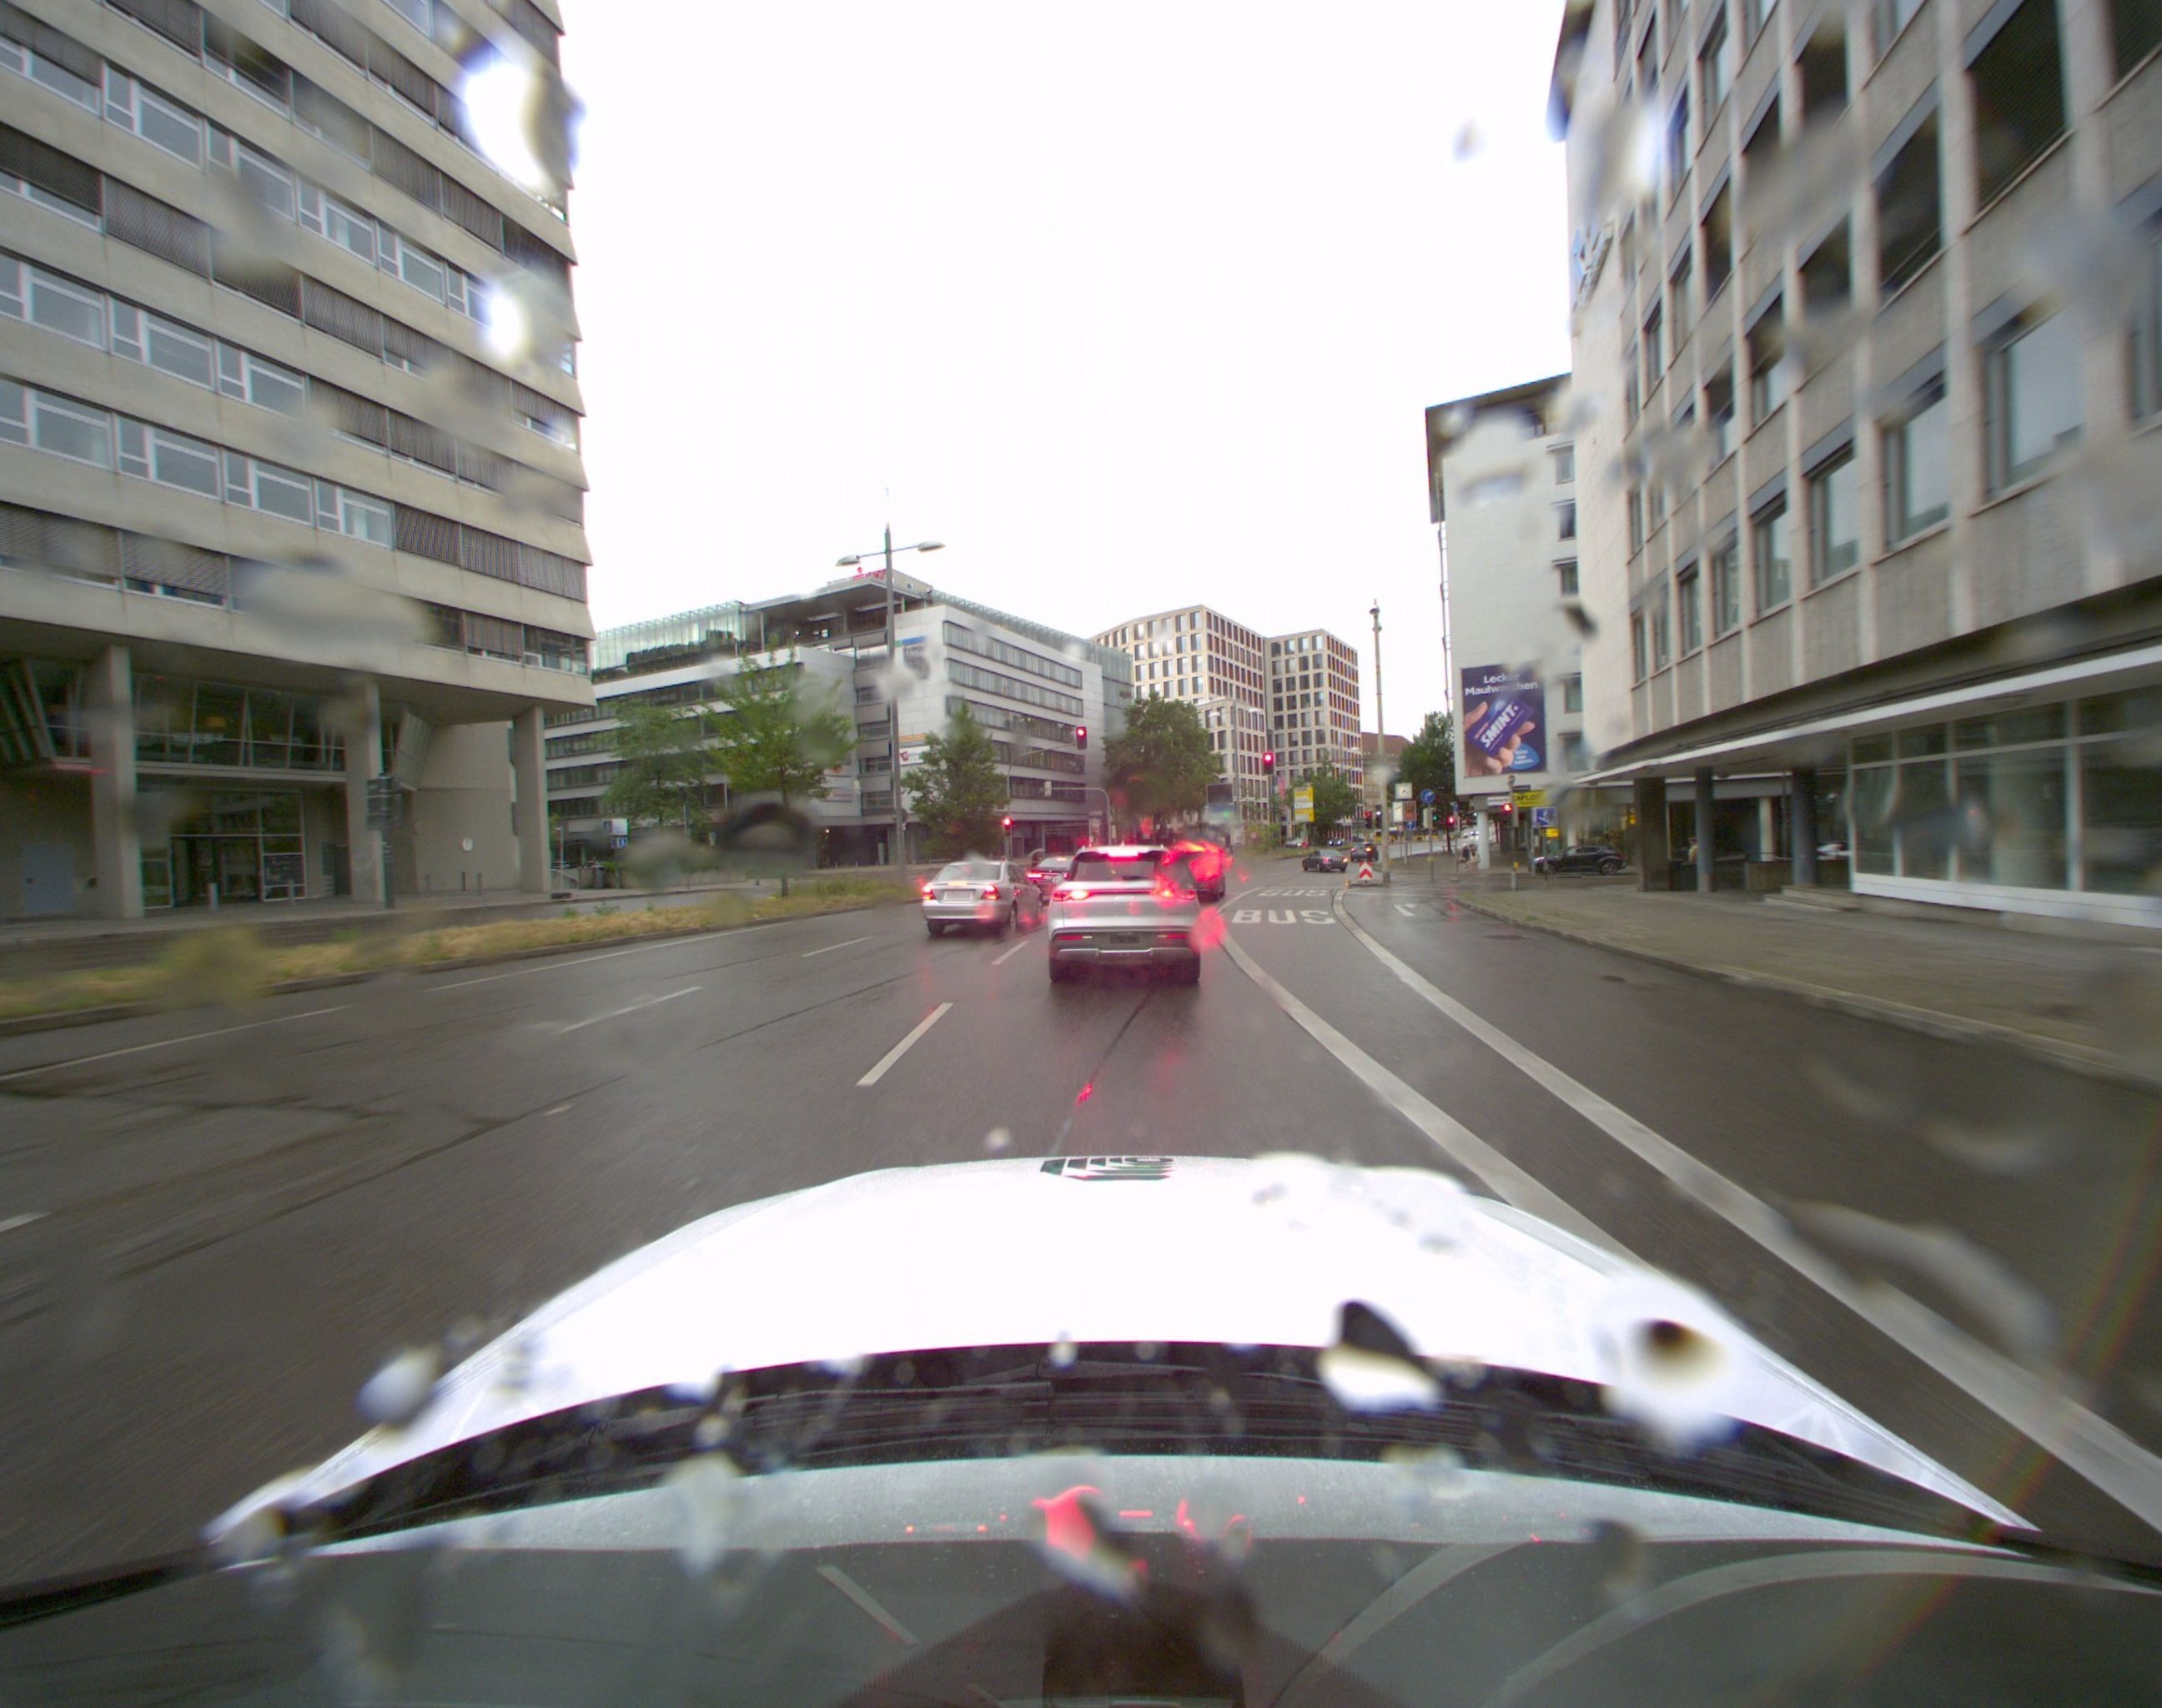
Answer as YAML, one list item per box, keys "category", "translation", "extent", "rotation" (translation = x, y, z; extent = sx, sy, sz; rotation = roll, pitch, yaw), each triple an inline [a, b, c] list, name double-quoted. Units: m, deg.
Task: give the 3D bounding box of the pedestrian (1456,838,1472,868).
- category: "pedestrian"
  translation: [22.060, -0.047, 46.896]
  extent: [0.721, 1.668, 0.694]
  rotation: [-2, -1, 21]

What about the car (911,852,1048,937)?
- category: "car"
  translation: [-1.954, 0.749, 17.001]
  extent: [1.672, 1.486, 4.207]
  rotation: [-2, 0, 9]

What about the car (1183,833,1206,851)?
- category: "car"
  translation: [14.115, -1.436, 100.900]
  extent: [1.722, 2.161, 4.519]
  rotation: [0, 0, 23]

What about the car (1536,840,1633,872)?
- category: "car"
  translation: [25.359, 0.069, 41.197]
  extent: [3.951, 1.552, 2.011]
  rotation: [0, 1, 24]

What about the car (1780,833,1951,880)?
- category: "car"
  translation: [31.147, 0.111, 32.496]
  extent: [4.480, 1.750, 2.010]
  rotation: [-1, 0, 18]

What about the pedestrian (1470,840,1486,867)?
- category: "pedestrian"
  translation: [22.684, -0.026, 46.574]
  extent: [0.721, 1.524, 0.764]
  rotation: [-2, -1, 21]

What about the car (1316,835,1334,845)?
- category: "car"
  translation: [43.832, -2.546, 146.487]
  extent: [1.974, 1.705, 4.337]
  rotation: [-1, 2, 32]

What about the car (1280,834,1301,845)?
- category: "car"
  translation: [33.064, -2.302, 128.541]
  extent: [1.974, 1.705, 4.337]
  rotation: [-1, 2, 32]

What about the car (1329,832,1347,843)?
- category: "car"
  translation: [44.399, -2.882, 140.506]
  extent: [1.974, 1.705, 4.026]
  rotation: [-1, 2, 33]

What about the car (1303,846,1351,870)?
- category: "car"
  translation: [16.067, 0.242, 53.390]
  extent: [1.903, 1.510, 4.358]
  rotation: [0, 1, 1]

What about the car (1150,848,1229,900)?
- category: "car"
  translation: [3.667, 0.610, 26.844]
  extent: [1.940, 1.530, 4.018]
  rotation: [-1, 0, 16]

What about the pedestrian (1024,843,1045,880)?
- category: "pedestrian"
  translation: [-2.240, 0.351, 39.192]
  extent: [0.919, 1.738, 0.729]
  rotation: [-2, 0, 0]

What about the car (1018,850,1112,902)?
- category: "car"
  translation: [-0.424, 0.669, 26.693]
  extent: [1.940, 1.530, 4.018]
  rotation: [-1, 0, 16]

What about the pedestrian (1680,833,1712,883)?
- category: "pedestrian"
  translation: [22.595, 0.140, 29.927]
  extent: [0.721, 1.798, 0.743]
  rotation: [-2, 0, 21]

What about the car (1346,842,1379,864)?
- category: "car"
  translation: [23.619, -0.125, 68.185]
  extent: [2.028, 1.765, 4.383]
  rotation: [0, 1, 27]

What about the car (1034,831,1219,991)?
- category: "car"
  translation: [0.582, 0.613, 11.197]
  extent: [1.986, 1.709, 4.485]
  rotation: [-2, 0, 2]
